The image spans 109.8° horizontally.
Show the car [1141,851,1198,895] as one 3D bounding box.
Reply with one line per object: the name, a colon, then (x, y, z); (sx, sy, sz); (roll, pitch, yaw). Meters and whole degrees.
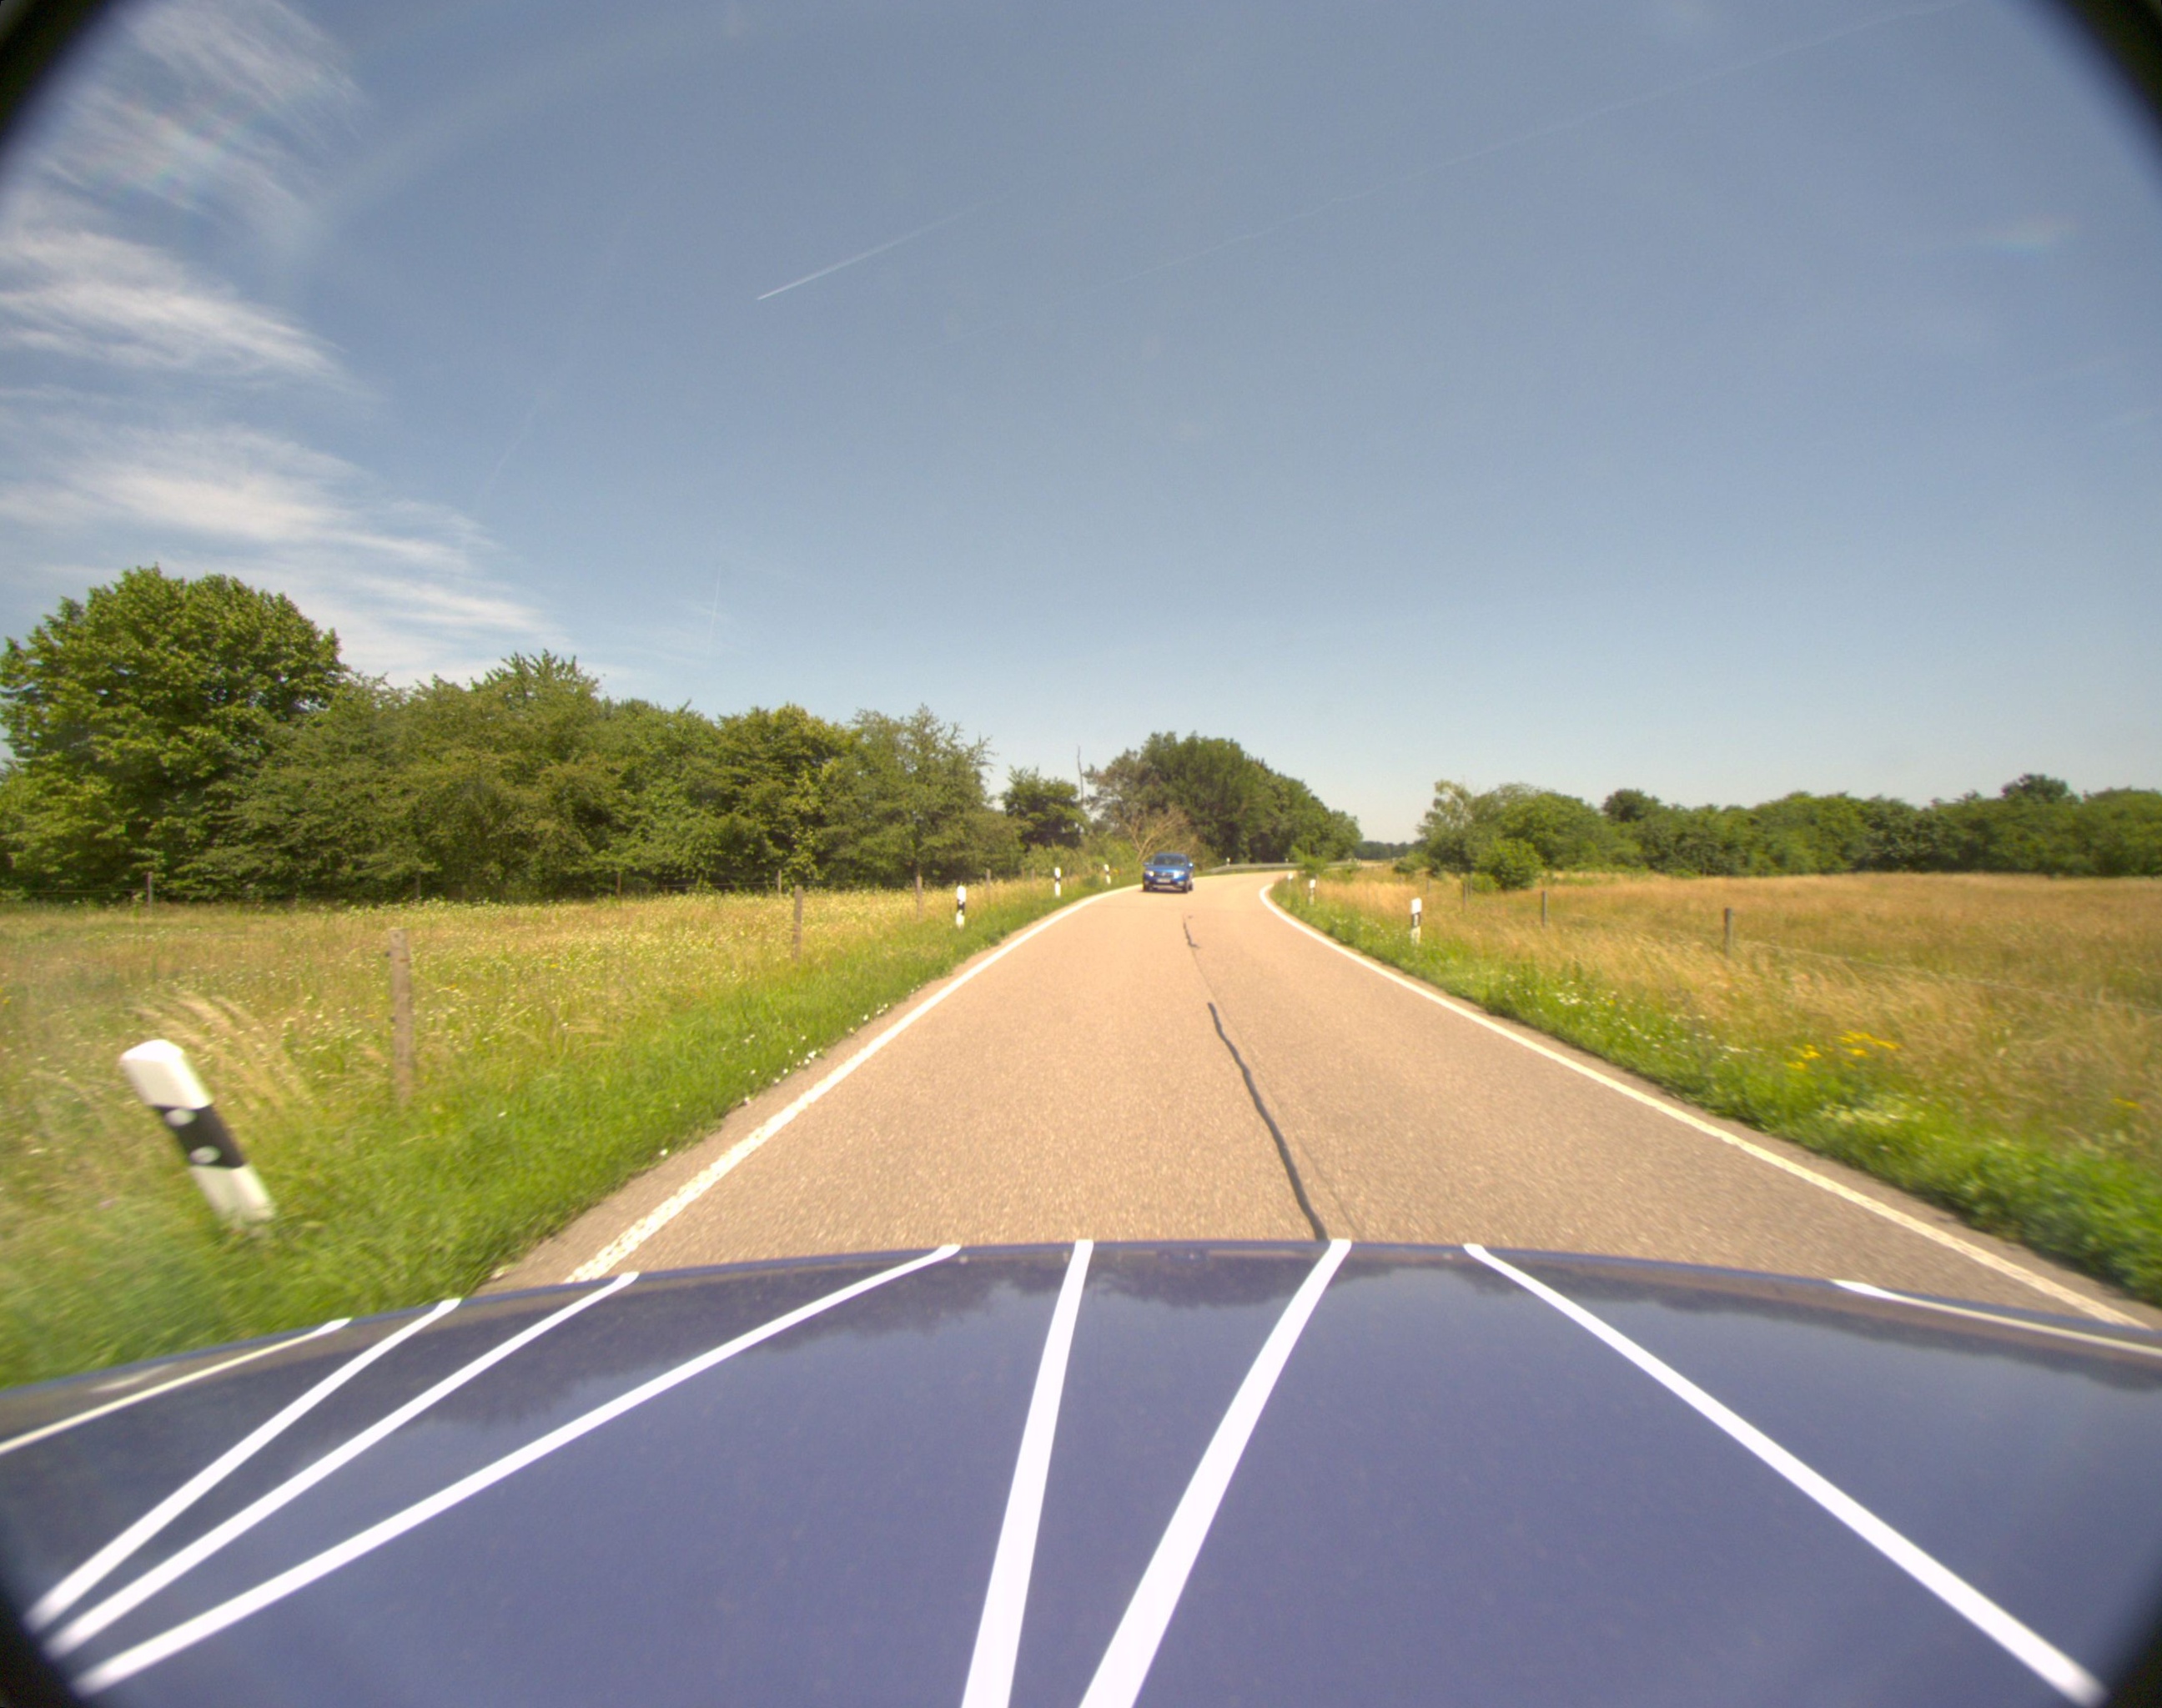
car: (3.619, 0.697, 30.567); (1.732, 1.572, 4.004); (2, 1, 14)
